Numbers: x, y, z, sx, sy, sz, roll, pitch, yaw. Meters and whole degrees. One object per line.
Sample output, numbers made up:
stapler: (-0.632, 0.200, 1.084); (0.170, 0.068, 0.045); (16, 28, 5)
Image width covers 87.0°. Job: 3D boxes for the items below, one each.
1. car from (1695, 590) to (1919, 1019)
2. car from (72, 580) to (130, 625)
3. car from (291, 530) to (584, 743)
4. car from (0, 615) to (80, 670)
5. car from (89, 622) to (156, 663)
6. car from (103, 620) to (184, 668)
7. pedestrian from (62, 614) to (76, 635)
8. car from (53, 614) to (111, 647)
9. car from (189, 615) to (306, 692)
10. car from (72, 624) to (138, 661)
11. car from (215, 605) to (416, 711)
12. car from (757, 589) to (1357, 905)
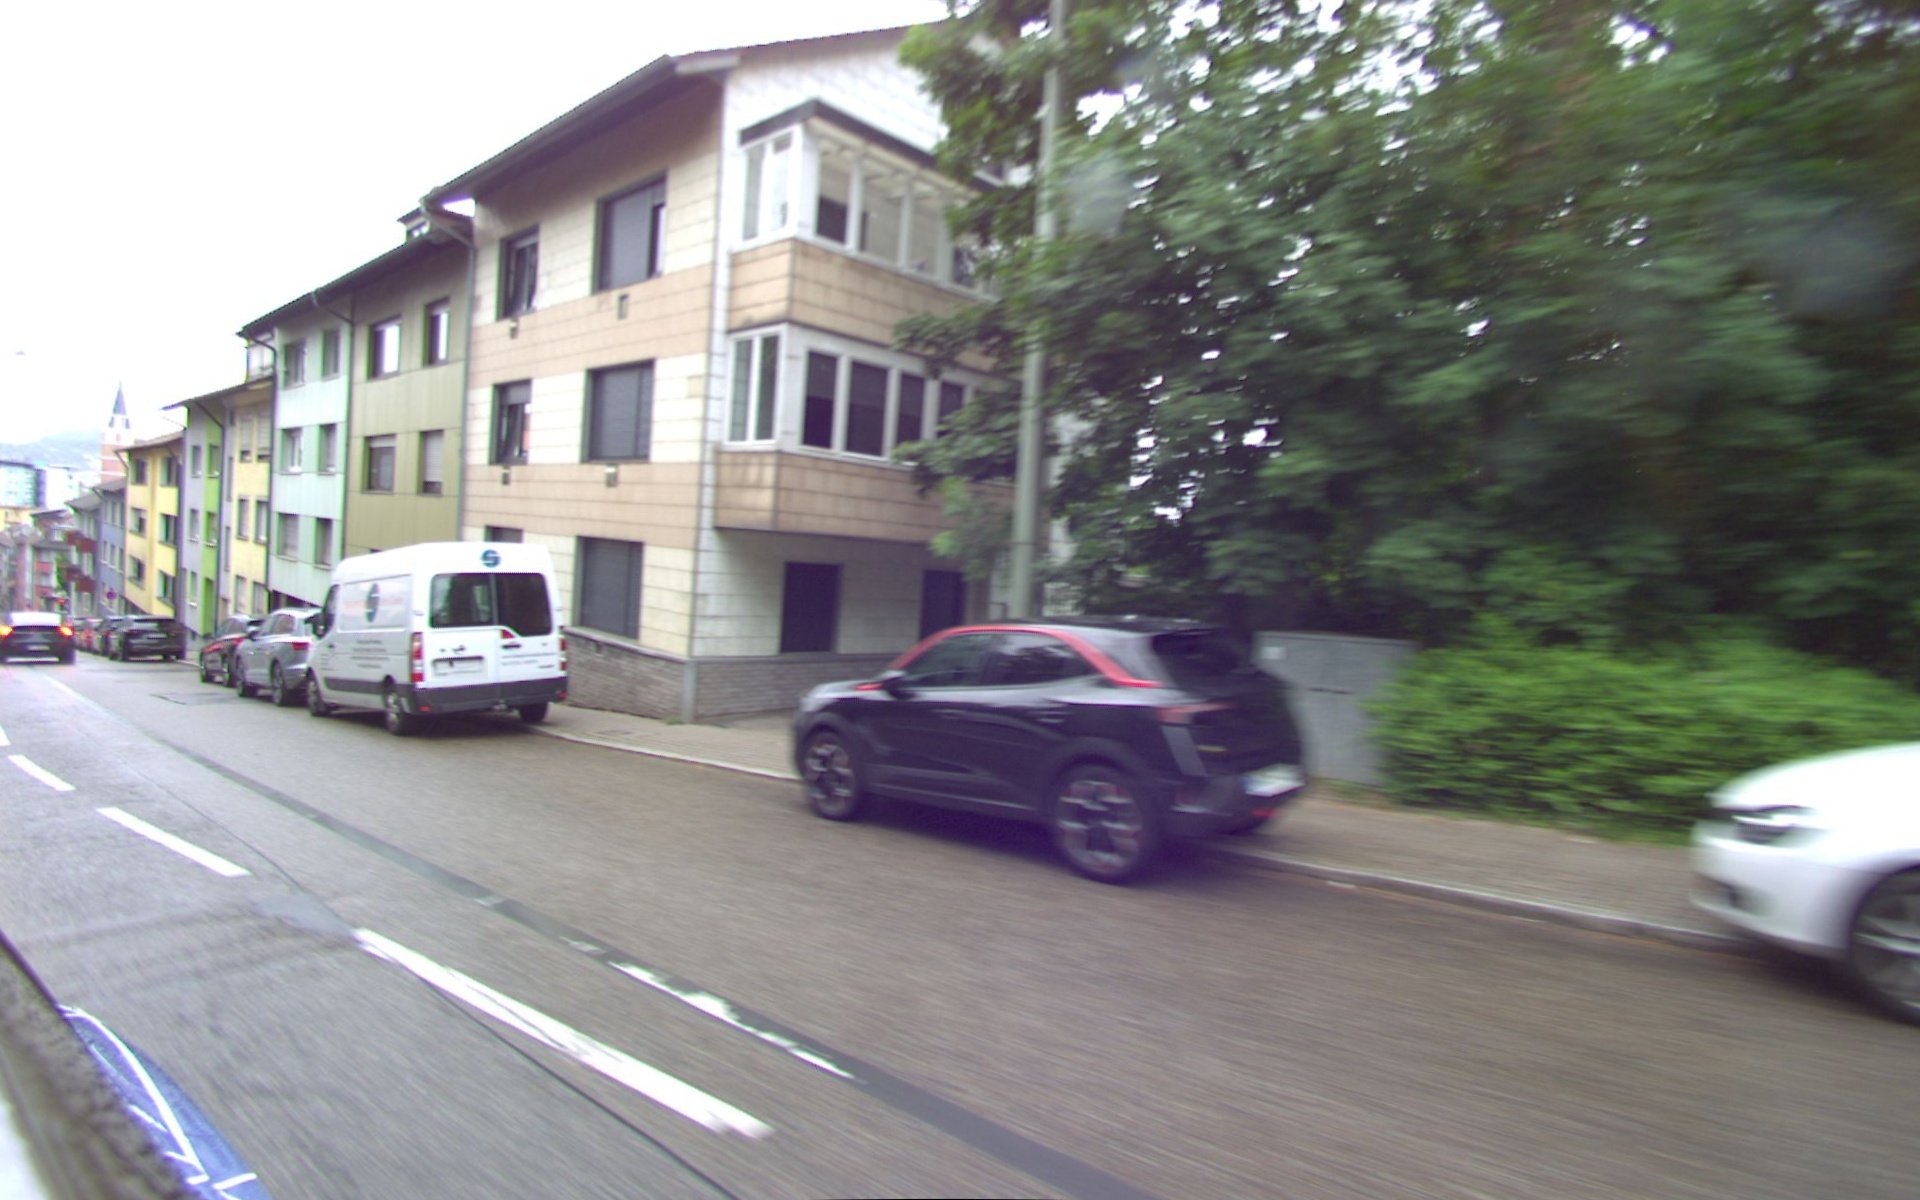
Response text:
car: (5.119, 0.757, 3.342); (4.150, 1.581, 1.637); (-1, -3, 45)
car: (-52.736, 0.191, 62.085); (5.445, 2.570, 2.093); (-1, -4, 44)
car: (-7.835, 0.528, 14.872); (5.445, 2.570, 2.093); (-1, -4, 44)
car: (-29.790, 1.329, 32.549); (4.502, 1.637, 1.914); (-1, -2, 45)
car: (-34.204, 1.714, 41.292); (4.057, 1.606, 1.664); (-1, -3, 44)
car: (-29.013, 1.529, 35.926); (4.001, 1.606, 1.673); (-1, -3, 44)
pedestrian: (-70.380, 1.949, 79.906); (0.794, 1.630, 0.456); (0, -1, -44)
car: (-46.122, 1.592, 53.133); (4.330, 1.669, 1.882); (-1, -3, 44)
car: (-16.683, 1.196, 23.613); (4.385, 1.627, 1.395); (-1, -3, 44)
car: (-38.990, 1.920, 46.138); (4.001, 1.548, 1.882); (-1, -3, 44)
car: (-12.278, 1.042, 19.131); (4.884, 1.753, 1.944); (-1, -4, 43)
car: (0.442, 0.819, 7.265); (4.187, 1.616, 1.626); (-1, -4, 45)
